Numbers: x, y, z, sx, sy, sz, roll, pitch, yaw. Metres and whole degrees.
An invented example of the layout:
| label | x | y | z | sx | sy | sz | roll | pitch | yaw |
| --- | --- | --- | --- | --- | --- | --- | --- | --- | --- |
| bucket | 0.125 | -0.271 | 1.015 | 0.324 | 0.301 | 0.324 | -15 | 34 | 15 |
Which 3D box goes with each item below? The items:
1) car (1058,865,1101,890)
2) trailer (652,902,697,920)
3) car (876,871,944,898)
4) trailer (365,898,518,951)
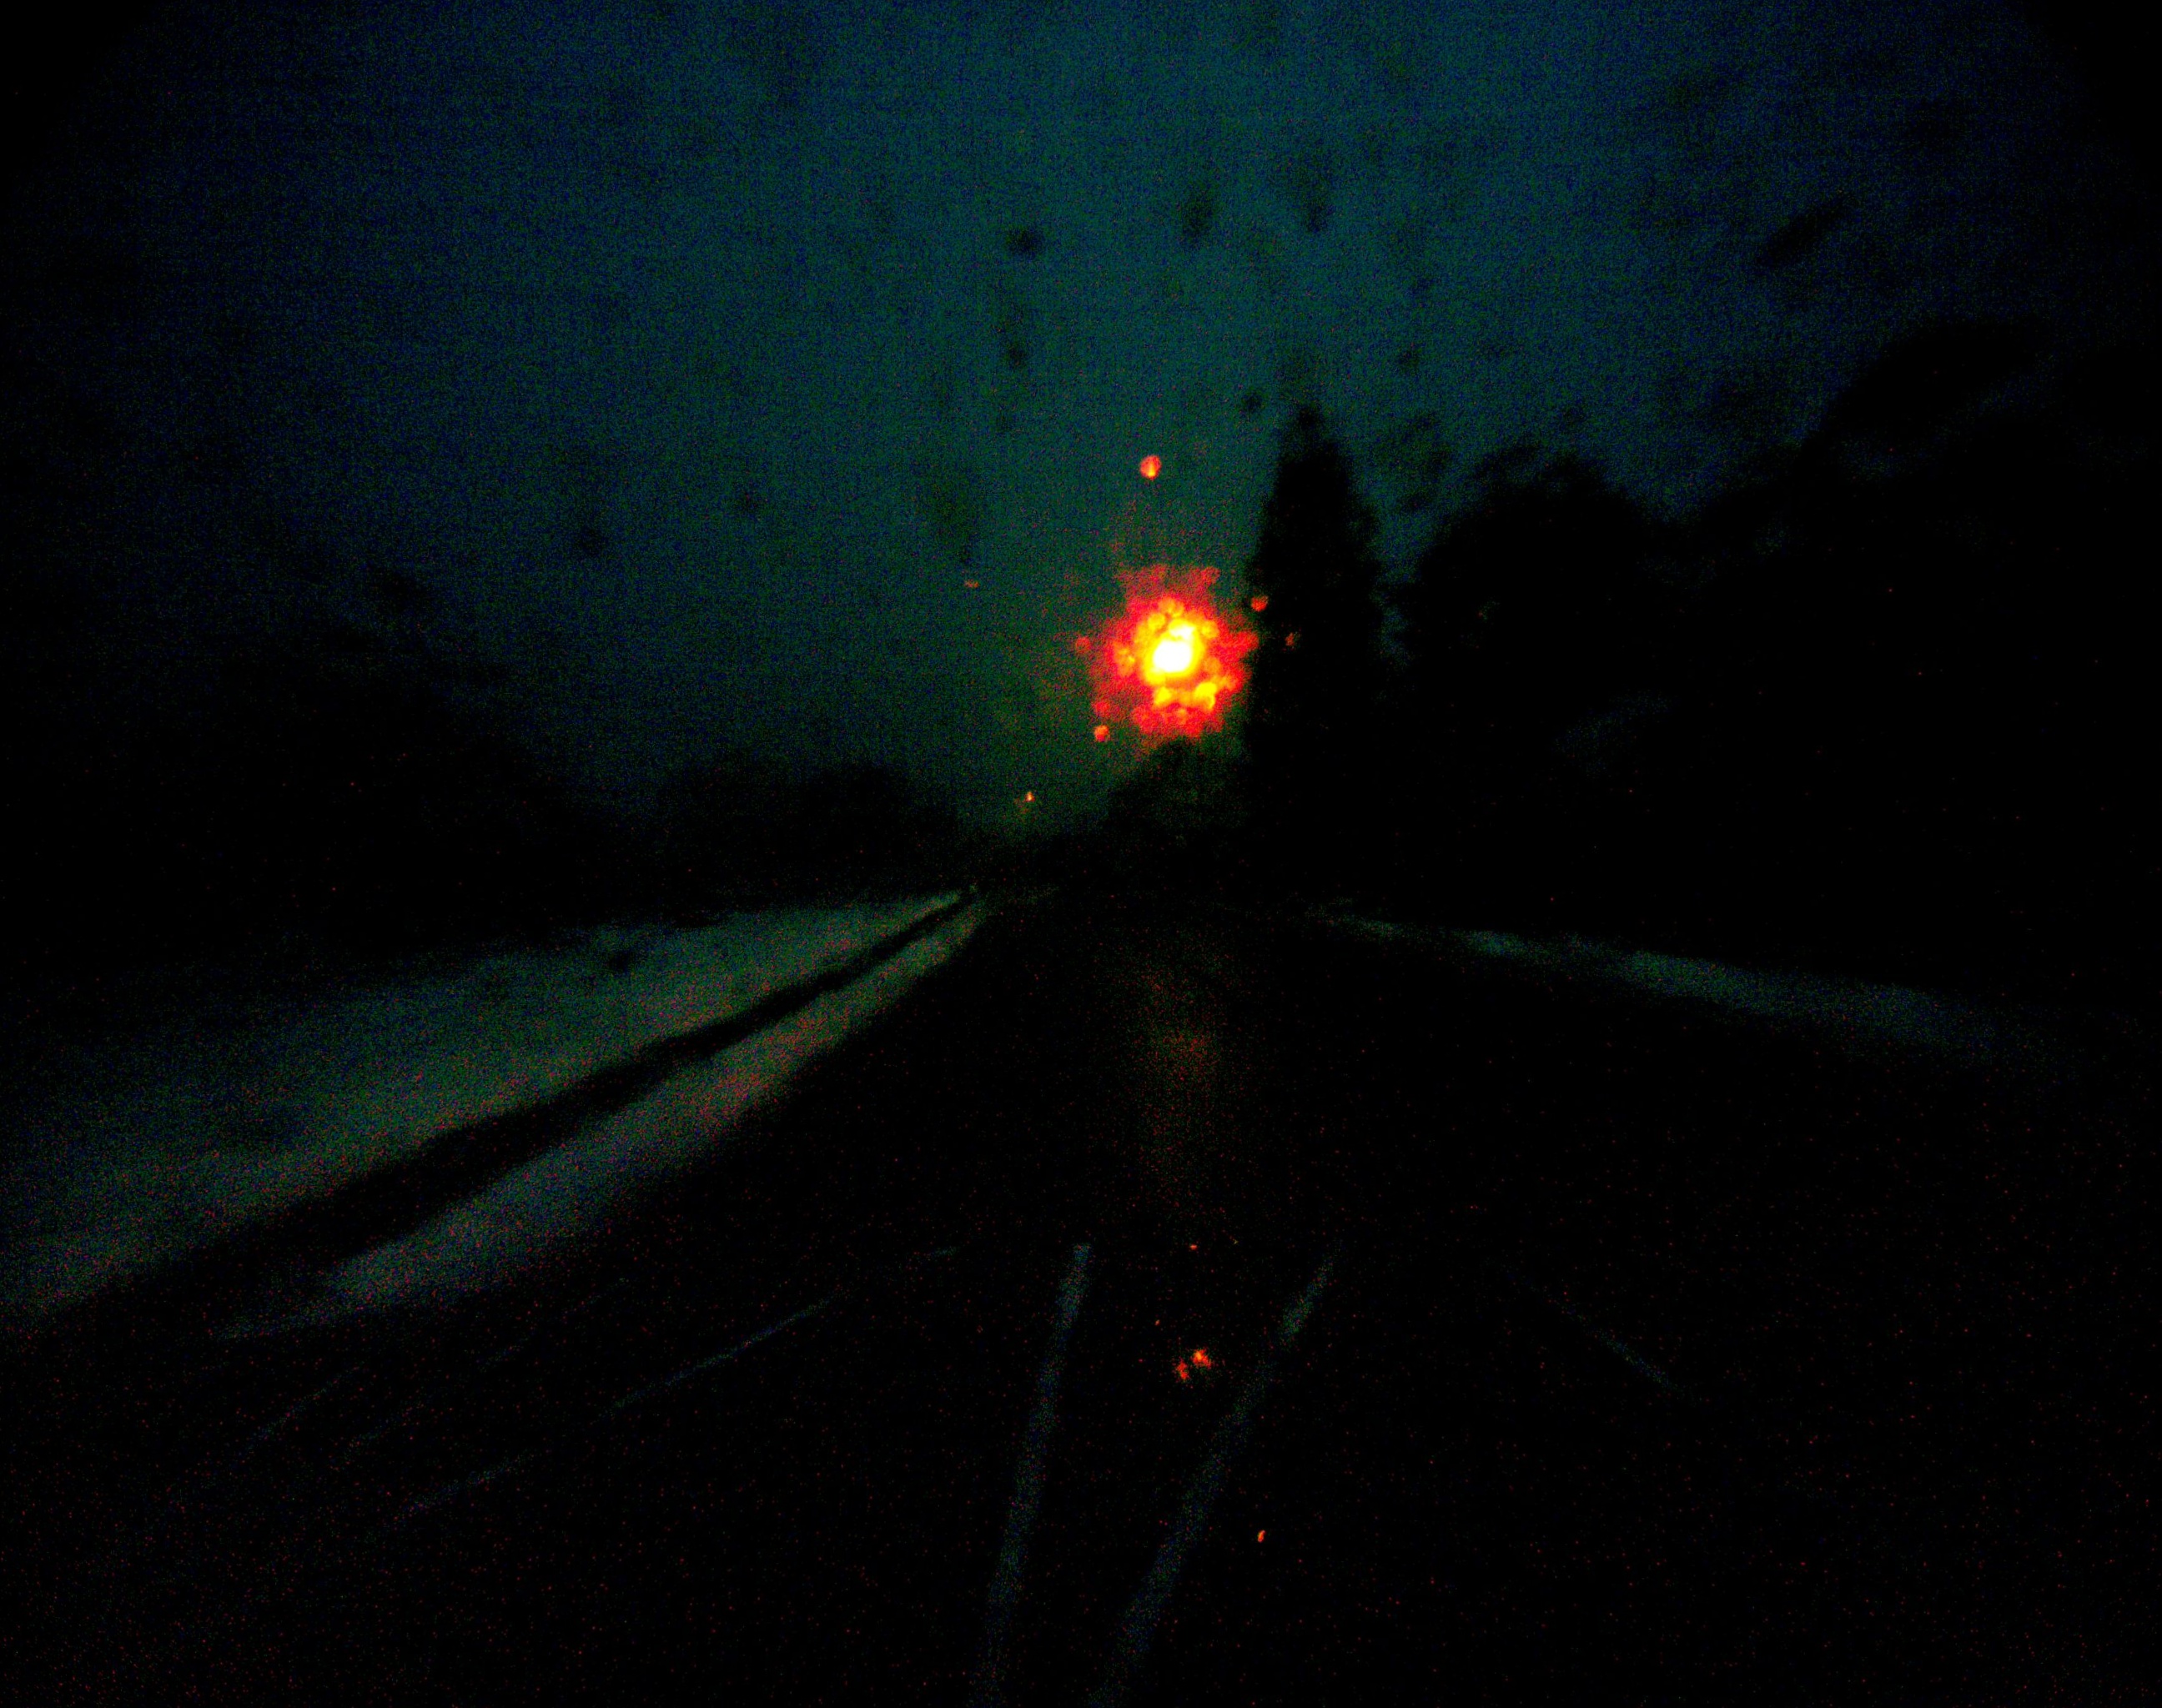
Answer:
| label | x | y | z | sx | sy | sz | roll | pitch | yaw |
| --- | --- | --- | --- | --- | --- | --- | --- | --- | --- |
| car | -0.170 | 1.558 | 49.939 | 1.883 | 1.417 | 5.389 | -3 | -1 | -10 |
| trailer | -24.577 | 3.451 | 46.061 | 1.851 | 0.940 | 3.658 | 0 | -2 | -19 |
| car | -12.068 | 2.156 | 54.000 | 4.464 | 1.373 | 2.034 | -6 | -1 | -9 |
| trailer | -29.013 | 3.160 | 34.683 | 4.758 | 1.930 | 2.222 | -4 | -1 | -14 |
